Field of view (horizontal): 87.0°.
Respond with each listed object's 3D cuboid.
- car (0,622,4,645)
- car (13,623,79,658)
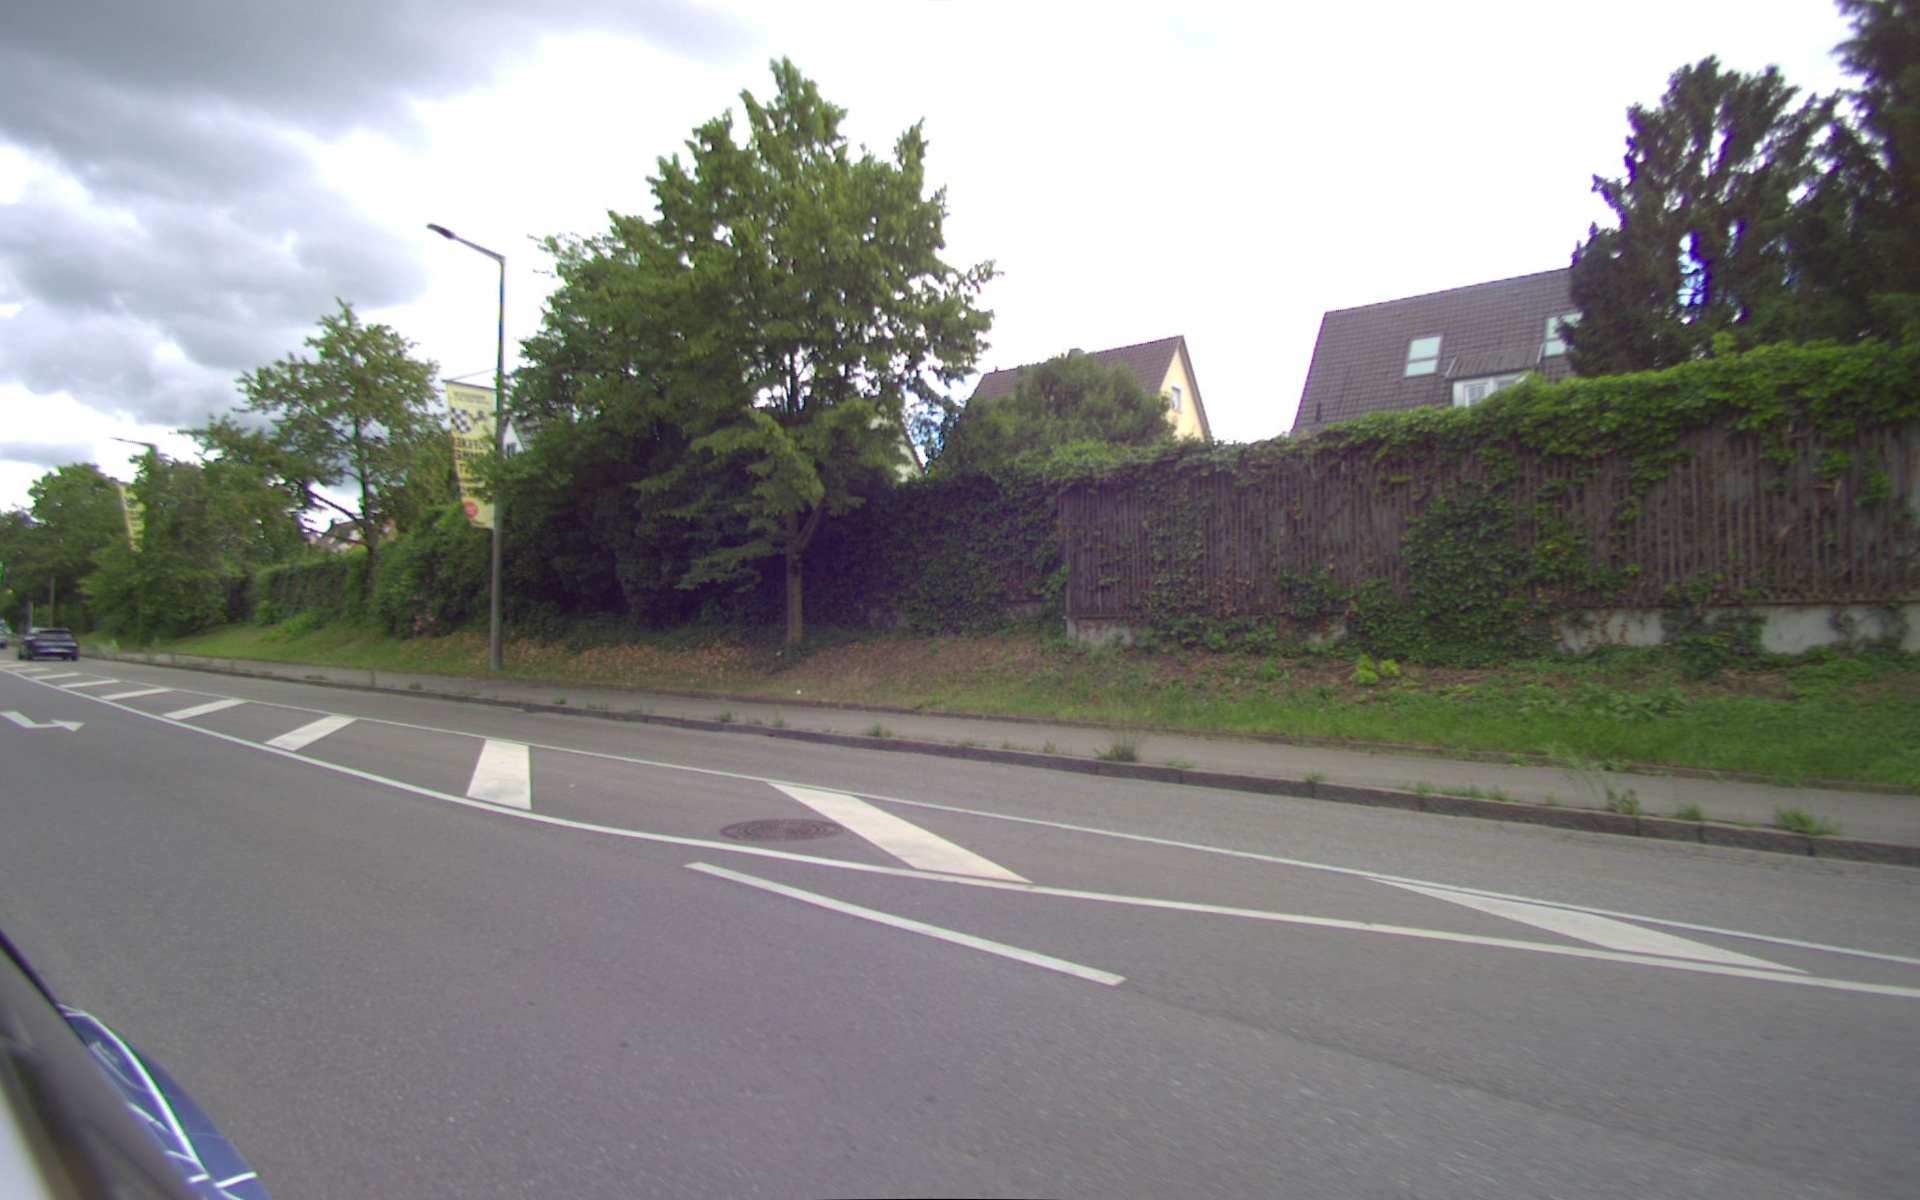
[{"bbox_3d":[-66.439,2.284,68.759,3.927,1.540,1.784,-1,0,42],"label":"car"},{"bbox_3d":[-39.999,1.769,44.251,4.007,1.433,1.636,-1,-4,42],"label":"car"}]
